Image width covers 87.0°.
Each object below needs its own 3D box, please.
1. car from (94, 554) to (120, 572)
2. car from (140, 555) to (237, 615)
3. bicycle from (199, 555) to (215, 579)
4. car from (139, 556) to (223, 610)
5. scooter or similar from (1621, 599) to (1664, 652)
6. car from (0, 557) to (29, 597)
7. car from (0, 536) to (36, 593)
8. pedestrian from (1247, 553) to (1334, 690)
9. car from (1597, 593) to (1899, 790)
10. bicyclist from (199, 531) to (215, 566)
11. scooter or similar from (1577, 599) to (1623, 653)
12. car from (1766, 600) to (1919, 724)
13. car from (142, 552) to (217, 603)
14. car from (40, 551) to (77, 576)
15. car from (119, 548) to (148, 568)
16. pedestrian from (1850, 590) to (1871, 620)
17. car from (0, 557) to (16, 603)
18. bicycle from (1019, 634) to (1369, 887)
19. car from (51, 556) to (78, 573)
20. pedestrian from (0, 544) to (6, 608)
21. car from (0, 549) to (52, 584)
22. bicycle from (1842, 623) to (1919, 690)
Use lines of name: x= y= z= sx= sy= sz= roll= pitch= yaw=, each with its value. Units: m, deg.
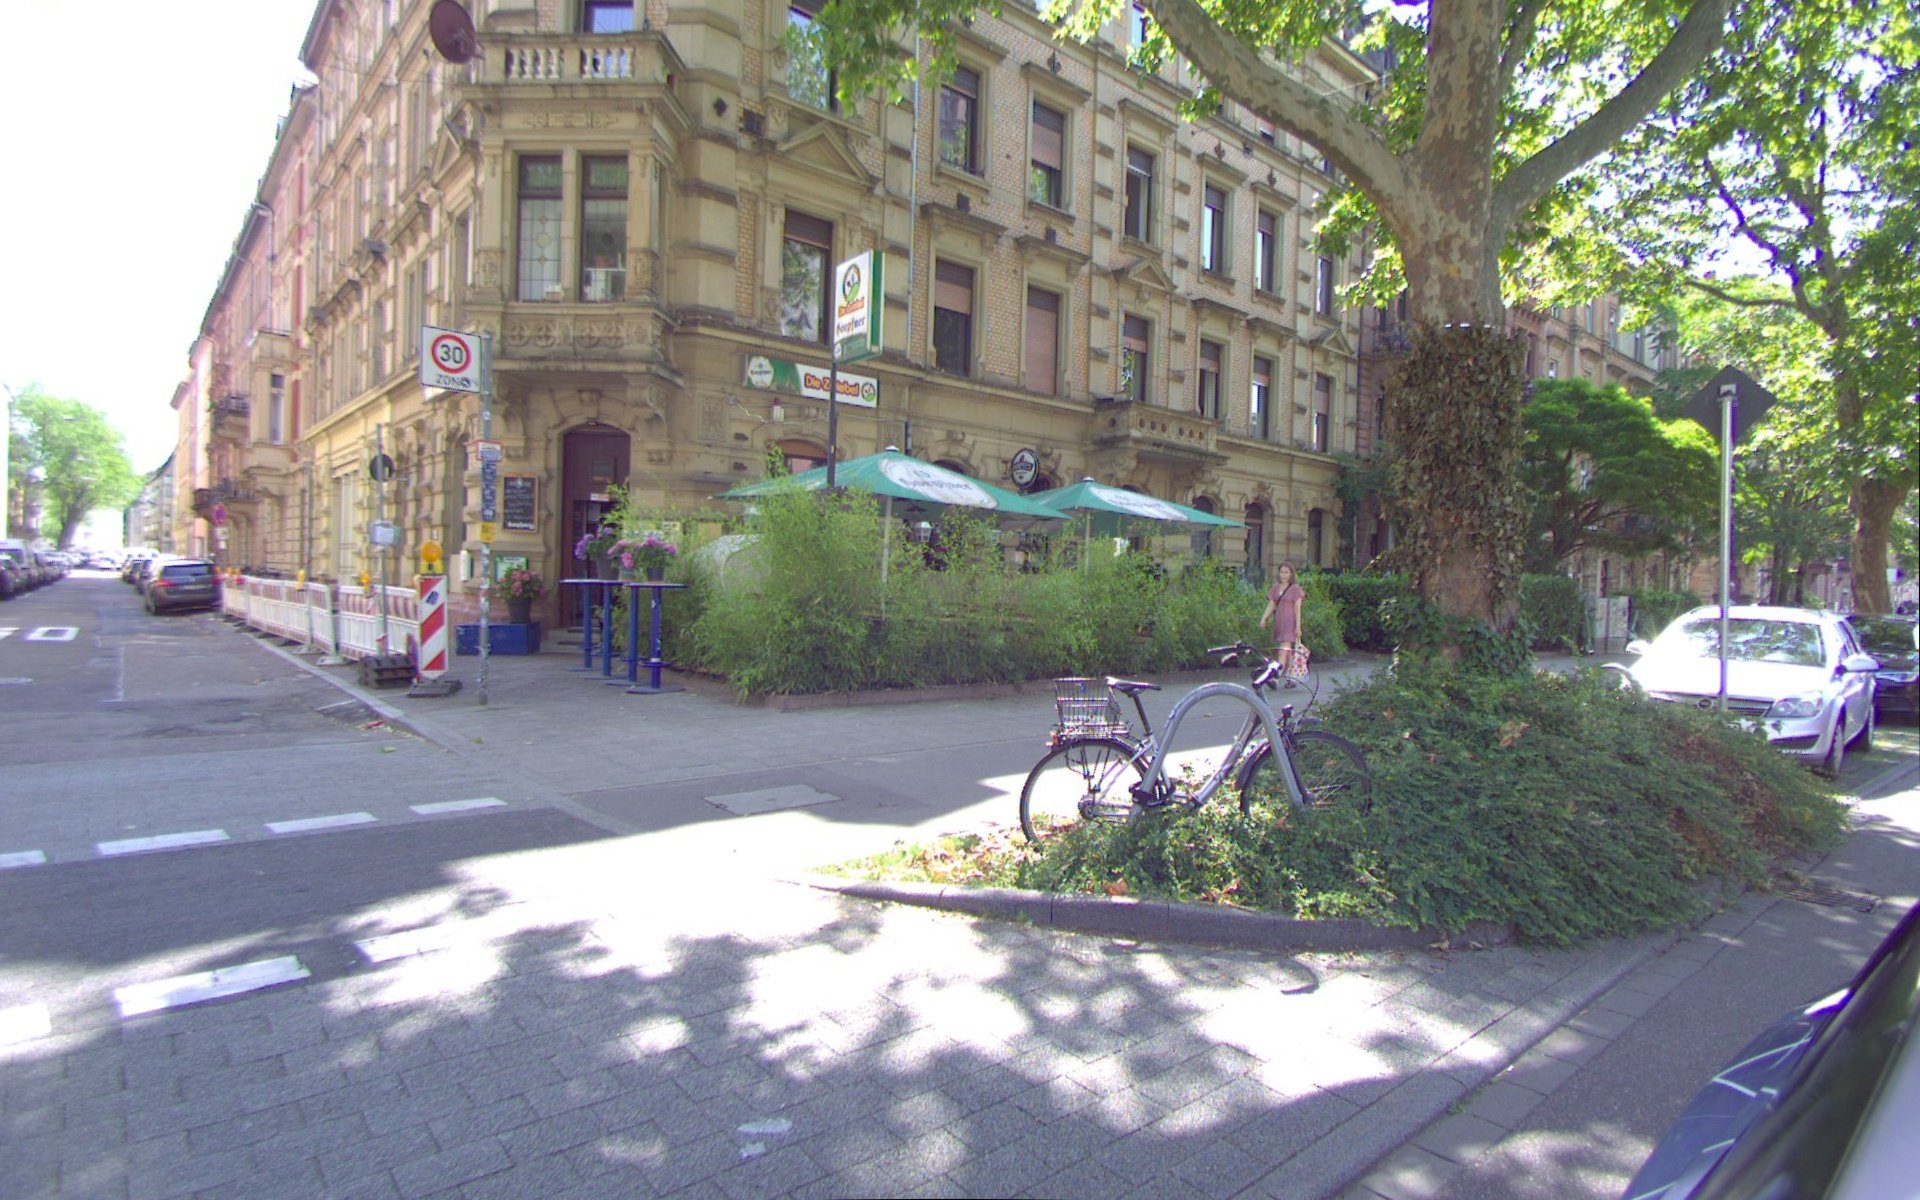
car: x=-86.262 y=-3.779 z=102.319 sx=1.965 sy=1.760 sz=3.995 roll=1 pitch=1 yaw=-41
car: x=-21.848 y=-0.461 z=28.603 sx=1.965 sy=1.571 sz=3.995 roll=1 pitch=1 yaw=-41
bicycle: x=-31.870 y=-1.412 z=42.825 sx=0.529 sy=0.991 sz=1.309 roll=1 pitch=1 yaw=-38
car: x=-25.769 y=-0.595 z=33.430 sx=1.965 sy=1.660 sz=3.995 roll=1 pitch=1 yaw=-41
scooter or similar: x=17.499 y=0.650 z=25.943 sx=1.124 sy=1.298 sz=0.583 roll=1 pitch=1 yaw=-39
car: x=-38.468 y=-0.949 z=40.470 sx=1.698 sy=1.548 sz=3.490 roll=1 pitch=1 yaw=-42
car: x=-41.851 y=-1.583 z=44.229 sx=1.879 sy=2.403 sz=4.244 roll=1 pitch=1 yaw=-39
pedestrian: x=4.585 y=0.275 z=14.049 sx=0.837 sy=1.807 sz=0.738 roll=1 pitch=3 yaw=-41
car: x=8.187 y=0.738 z=10.348 sx=4.418 sy=1.527 sz=1.835 roll=0 pitch=2 yaw=-44
bicyclist: x=-31.880 y=-2.173 z=42.852 sx=0.523 sy=1.471 sz=0.460 roll=1 pitch=1 yaw=-39
scooter or similar: x=15.379 y=0.614 z=24.309 sx=1.124 sy=1.263 sz=0.583 roll=1 pitch=1 yaw=-40
car: x=13.535 y=0.807 z=14.823 sx=4.561 sy=1.527 sz=1.837 roll=1 pitch=2 yaw=-40
car: x=-28.770 y=-0.848 z=37.252 sx=1.965 sy=1.760 sz=3.995 roll=1 pitch=1 yaw=-41
car: x=-64.875 y=-2.636 z=72.874 sx=1.879 sy=1.731 sz=4.157 roll=1 pitch=1 yaw=-40
car: x=-75.940 y=-3.846 z=93.012 sx=1.965 sy=1.760 sz=3.995 roll=1 pitch=1 yaw=-41
pedestrian: x=54.157 y=0.306 z=60.882 sx=0.951 sy=1.740 sz=0.796 roll=1 pitch=1 yaw=-41
car: x=-34.660 y=-0.743 z=35.844 sx=1.698 sy=1.548 sz=3.490 roll=1 pitch=1 yaw=-42
bicycle: x=1.122 y=0.748 z=4.911 sx=1.583 sy=1.119 sz=0.423 roll=1 pitch=1 yaw=-10
car: x=-77.856 y=-3.076 z=87.969 sx=1.641 sy=1.419 sz=3.357 roll=1 pitch=1 yaw=-40
pedestrian: x=-27.907 y=-0.711 z=28.933 sx=0.921 sy=1.821 sz=1.036 roll=0 pitch=1 yaw=-44
car: x=-48.968 y=-1.758 z=53.021 sx=1.879 sy=1.731 sz=4.159 roll=1 pitch=1 yaw=-39
bicycle: x=16.408 y=0.984 z=17.532 sx=1.615 sy=1.102 sz=0.469 roll=2 pitch=1 yaw=17
